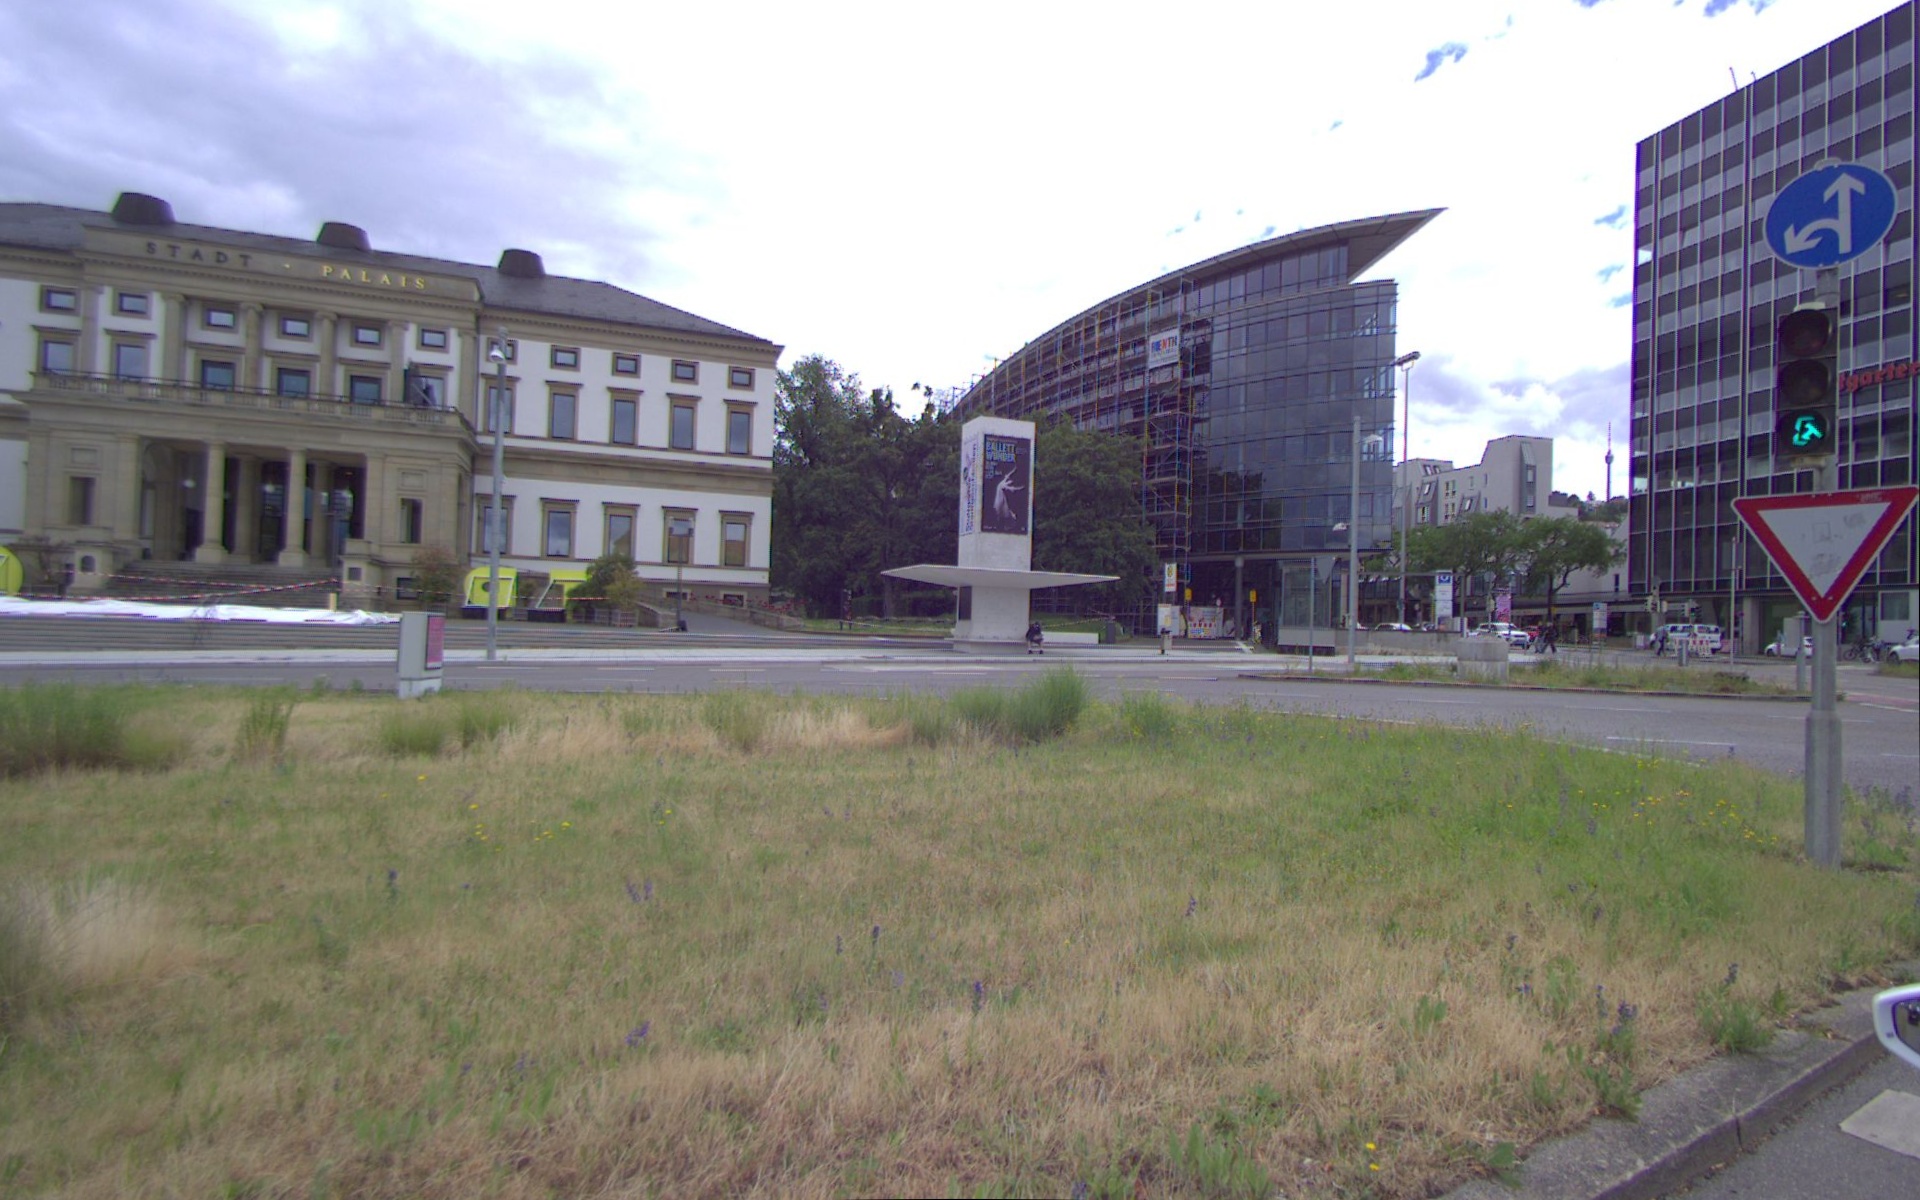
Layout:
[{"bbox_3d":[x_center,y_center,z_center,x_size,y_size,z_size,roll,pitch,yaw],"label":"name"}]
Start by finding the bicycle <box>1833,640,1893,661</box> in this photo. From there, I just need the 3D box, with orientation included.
[{"bbox_3d":[58.147,3.219,64.742,1.225,1.184,3.314,1,0,8],"label":"bicycle"}]

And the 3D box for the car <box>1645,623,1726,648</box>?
[{"bbox_3d":[50.015,2.432,69.362,2.208,1.522,4.610,0,0,-2],"label":"car"}]

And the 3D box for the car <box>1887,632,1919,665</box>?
[{"bbox_3d":[46.616,2.355,48.118,1.784,1.516,3.906,0,0,18],"label":"car"}]

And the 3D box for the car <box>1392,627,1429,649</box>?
[{"bbox_3d":[39.618,3.336,88.442,1.959,1.840,4.003,1,-1,9],"label":"car"}]

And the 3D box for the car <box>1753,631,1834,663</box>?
[{"bbox_3d":[52.807,2.954,63.712,1.862,1.632,4.001,4,1,4],"label":"car"}]

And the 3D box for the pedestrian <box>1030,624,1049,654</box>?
[{"bbox_3d":[2.879,1.415,36.463,0.551,1.096,0.474,1,0,-18],"label":"pedestrian"}]

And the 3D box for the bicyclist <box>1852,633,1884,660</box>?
[{"bbox_3d":[58.084,2.979,64.265,1.225,1.663,0.917,1,0,8],"label":"bicyclist"}]

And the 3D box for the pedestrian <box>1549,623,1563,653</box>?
[{"bbox_3d":[33.479,2.136,56.443,0.613,1.614,0.590,1,1,31],"label":"pedestrian"}]

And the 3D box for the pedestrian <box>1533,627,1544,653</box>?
[{"bbox_3d":[32.782,2.260,56.924,0.528,1.414,0.653,1,1,31],"label":"pedestrian"}]

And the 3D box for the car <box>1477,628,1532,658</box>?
[{"bbox_3d":[34.893,2.746,64.465,1.766,1.818,3.459,1,-1,3],"label":"car"}]

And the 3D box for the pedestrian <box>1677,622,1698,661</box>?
[{"bbox_3d":[45.279,2.562,62.497,0.944,2.393,1.038,1,0,31],"label":"pedestrian"}]
